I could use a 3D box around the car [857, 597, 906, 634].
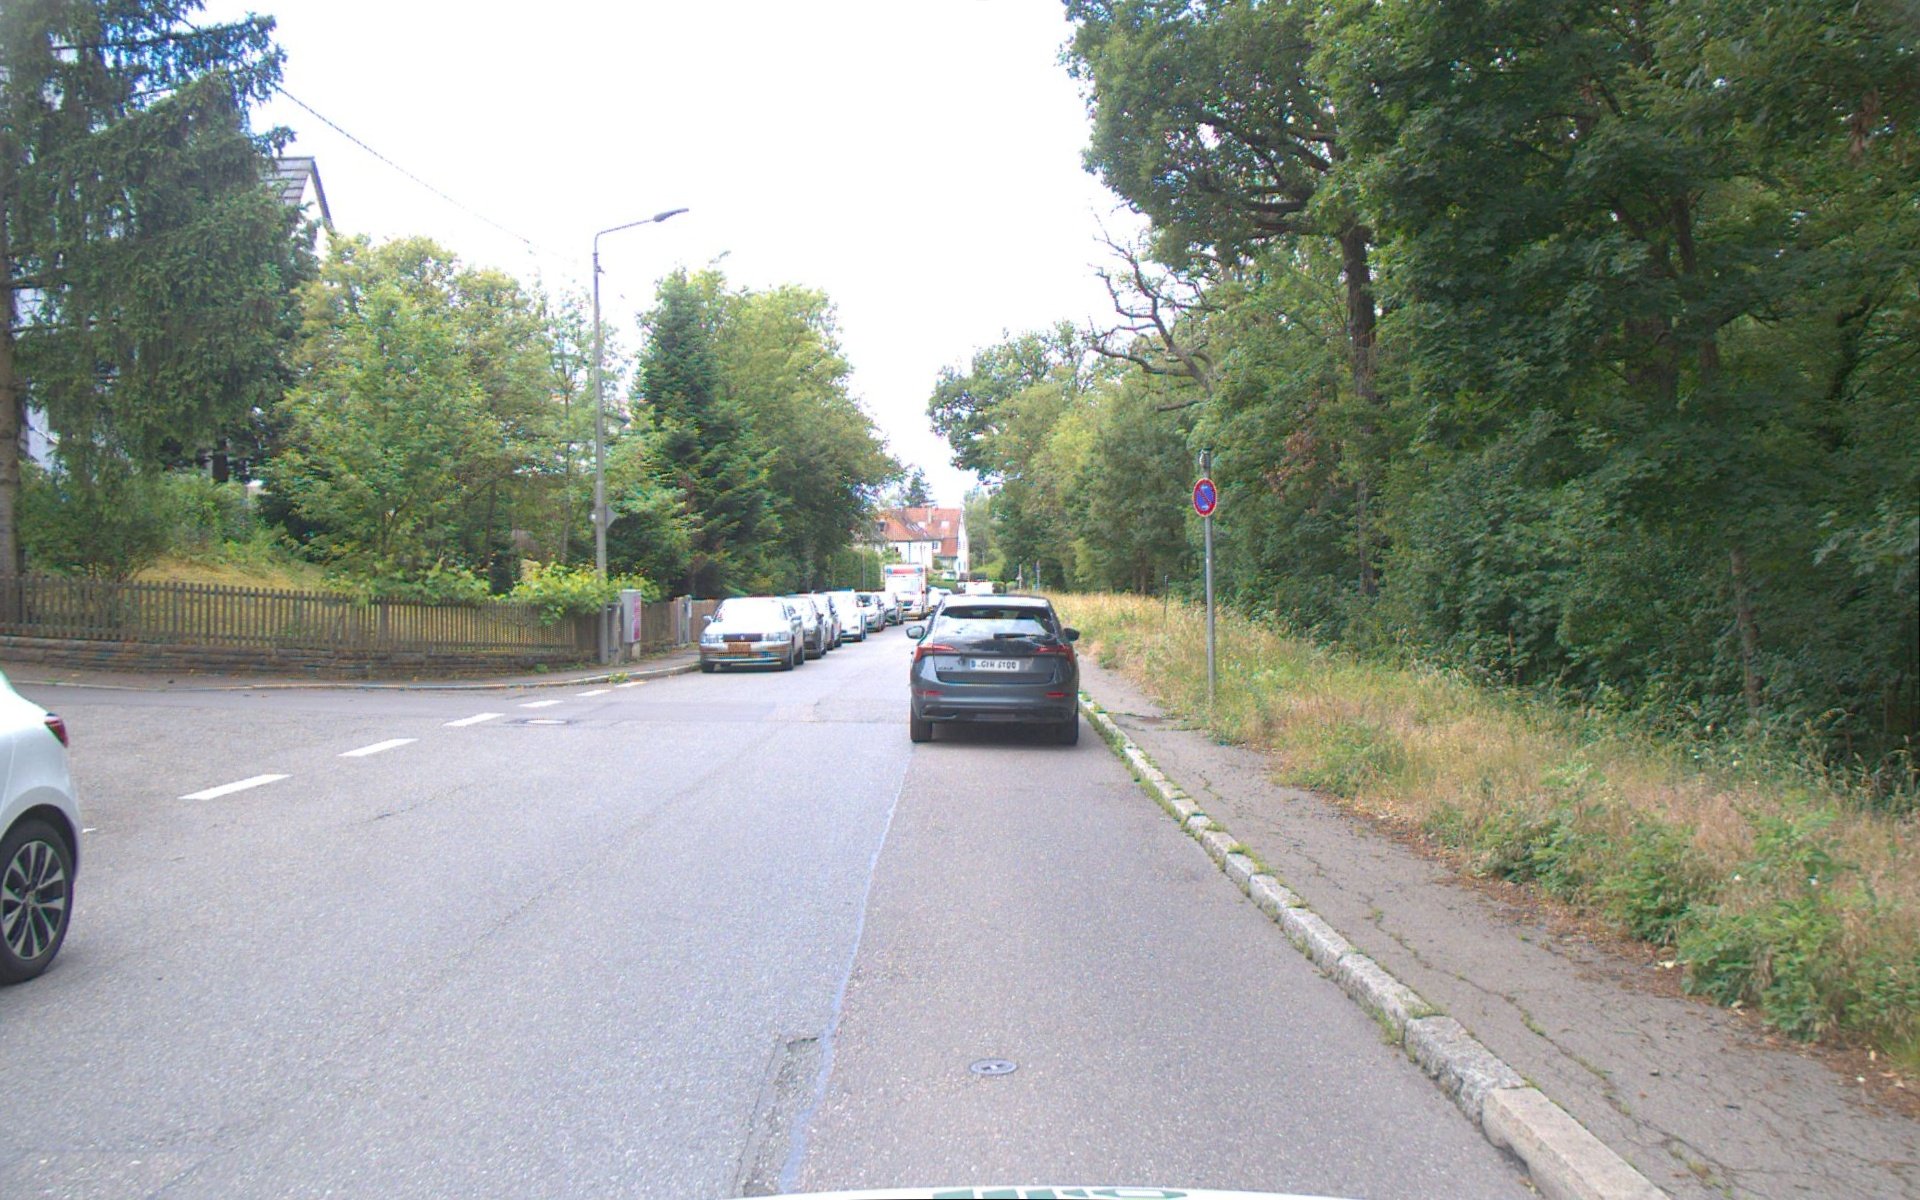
[{"bbox_3d":[-3.544,0.678,75.413,1.761,1.531,4.864,-3,0,2],"label":"car"}]

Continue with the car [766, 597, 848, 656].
[{"bbox_3d":[-4.146,0.693,45.303,1.797,1.464,4.117,-2,0,0],"label":"car"}]

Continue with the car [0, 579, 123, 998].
[{"bbox_3d":[-4.349,0.690,4.884,1.747,1.526,4.014,0,0,-1],"label":"car"}]

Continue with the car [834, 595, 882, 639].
[{"bbox_3d":[-3.834,0.623,62.533,1.686,1.531,4.006,-3,0,-3],"label":"car"}]

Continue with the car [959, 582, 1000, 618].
[{"bbox_3d":[1.088,-0.022,93.092,2.030,1.956,4.920,0,0,-3],"label":"car"}]

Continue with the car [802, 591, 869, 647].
[{"bbox_3d":[-3.874,0.570,52.082,1.878,1.589,4.602,-3,0,-2],"label":"car"}]

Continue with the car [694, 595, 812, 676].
[{"bbox_3d":[-4.088,0.664,33.368,1.811,1.464,4.909,-1,0,-1],"label":"car"}]

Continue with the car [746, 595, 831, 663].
[{"bbox_3d":[-3.998,0.644,39.195,1.699,1.464,4.261,-1,0,-2],"label":"car"}]

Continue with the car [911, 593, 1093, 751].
[{"bbox_3d":[0.336,0.679,17.840,1.693,1.464,4.322,0,1,-2],"label":"car"}]

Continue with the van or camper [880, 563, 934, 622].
[{"bbox_3d":[-2.836,-0.379,87.111,2.408,2.945,7.160,-1,0,-5],"label":"van or camper"}]
